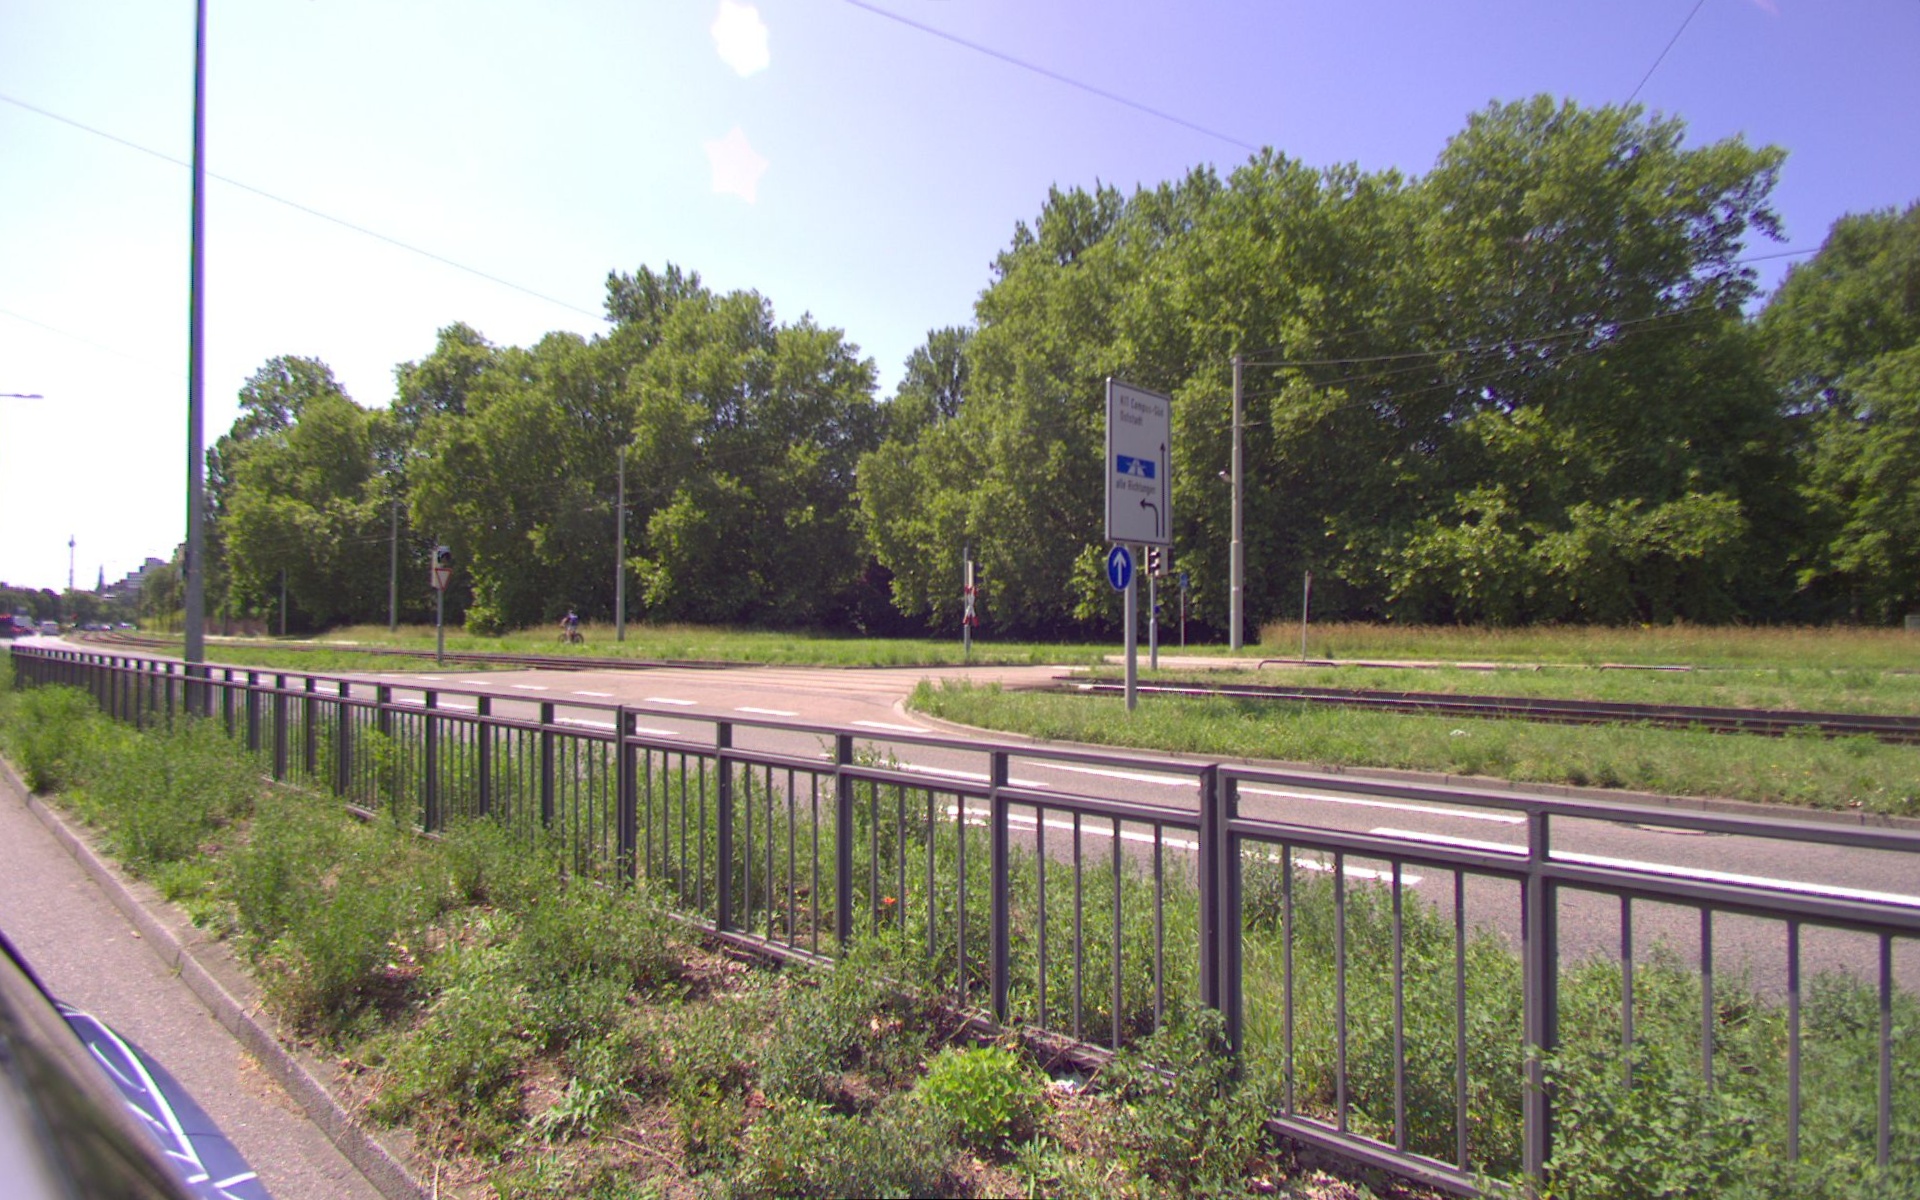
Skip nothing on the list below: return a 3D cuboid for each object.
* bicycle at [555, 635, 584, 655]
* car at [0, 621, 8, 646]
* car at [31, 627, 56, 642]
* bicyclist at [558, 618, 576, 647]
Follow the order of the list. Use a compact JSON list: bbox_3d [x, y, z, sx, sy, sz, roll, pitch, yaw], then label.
[{"bbox_3d":[-18.378,2.112,47.586,1.563,0.908,0.503,-1,-1,36],"label":"bicycle"},{"bbox_3d":[-94.942,3.291,99.215,5.372,2.384,1.972,-2,-3,43],"label":"car"},{"bbox_3d":[-124.246,4.656,137.198,5.029,2.029,1.972,-2,-4,43],"label":"car"},{"bbox_3d":[-18.483,1.511,47.551,0.679,1.346,0.503,-1,-1,36],"label":"bicyclist"}]
